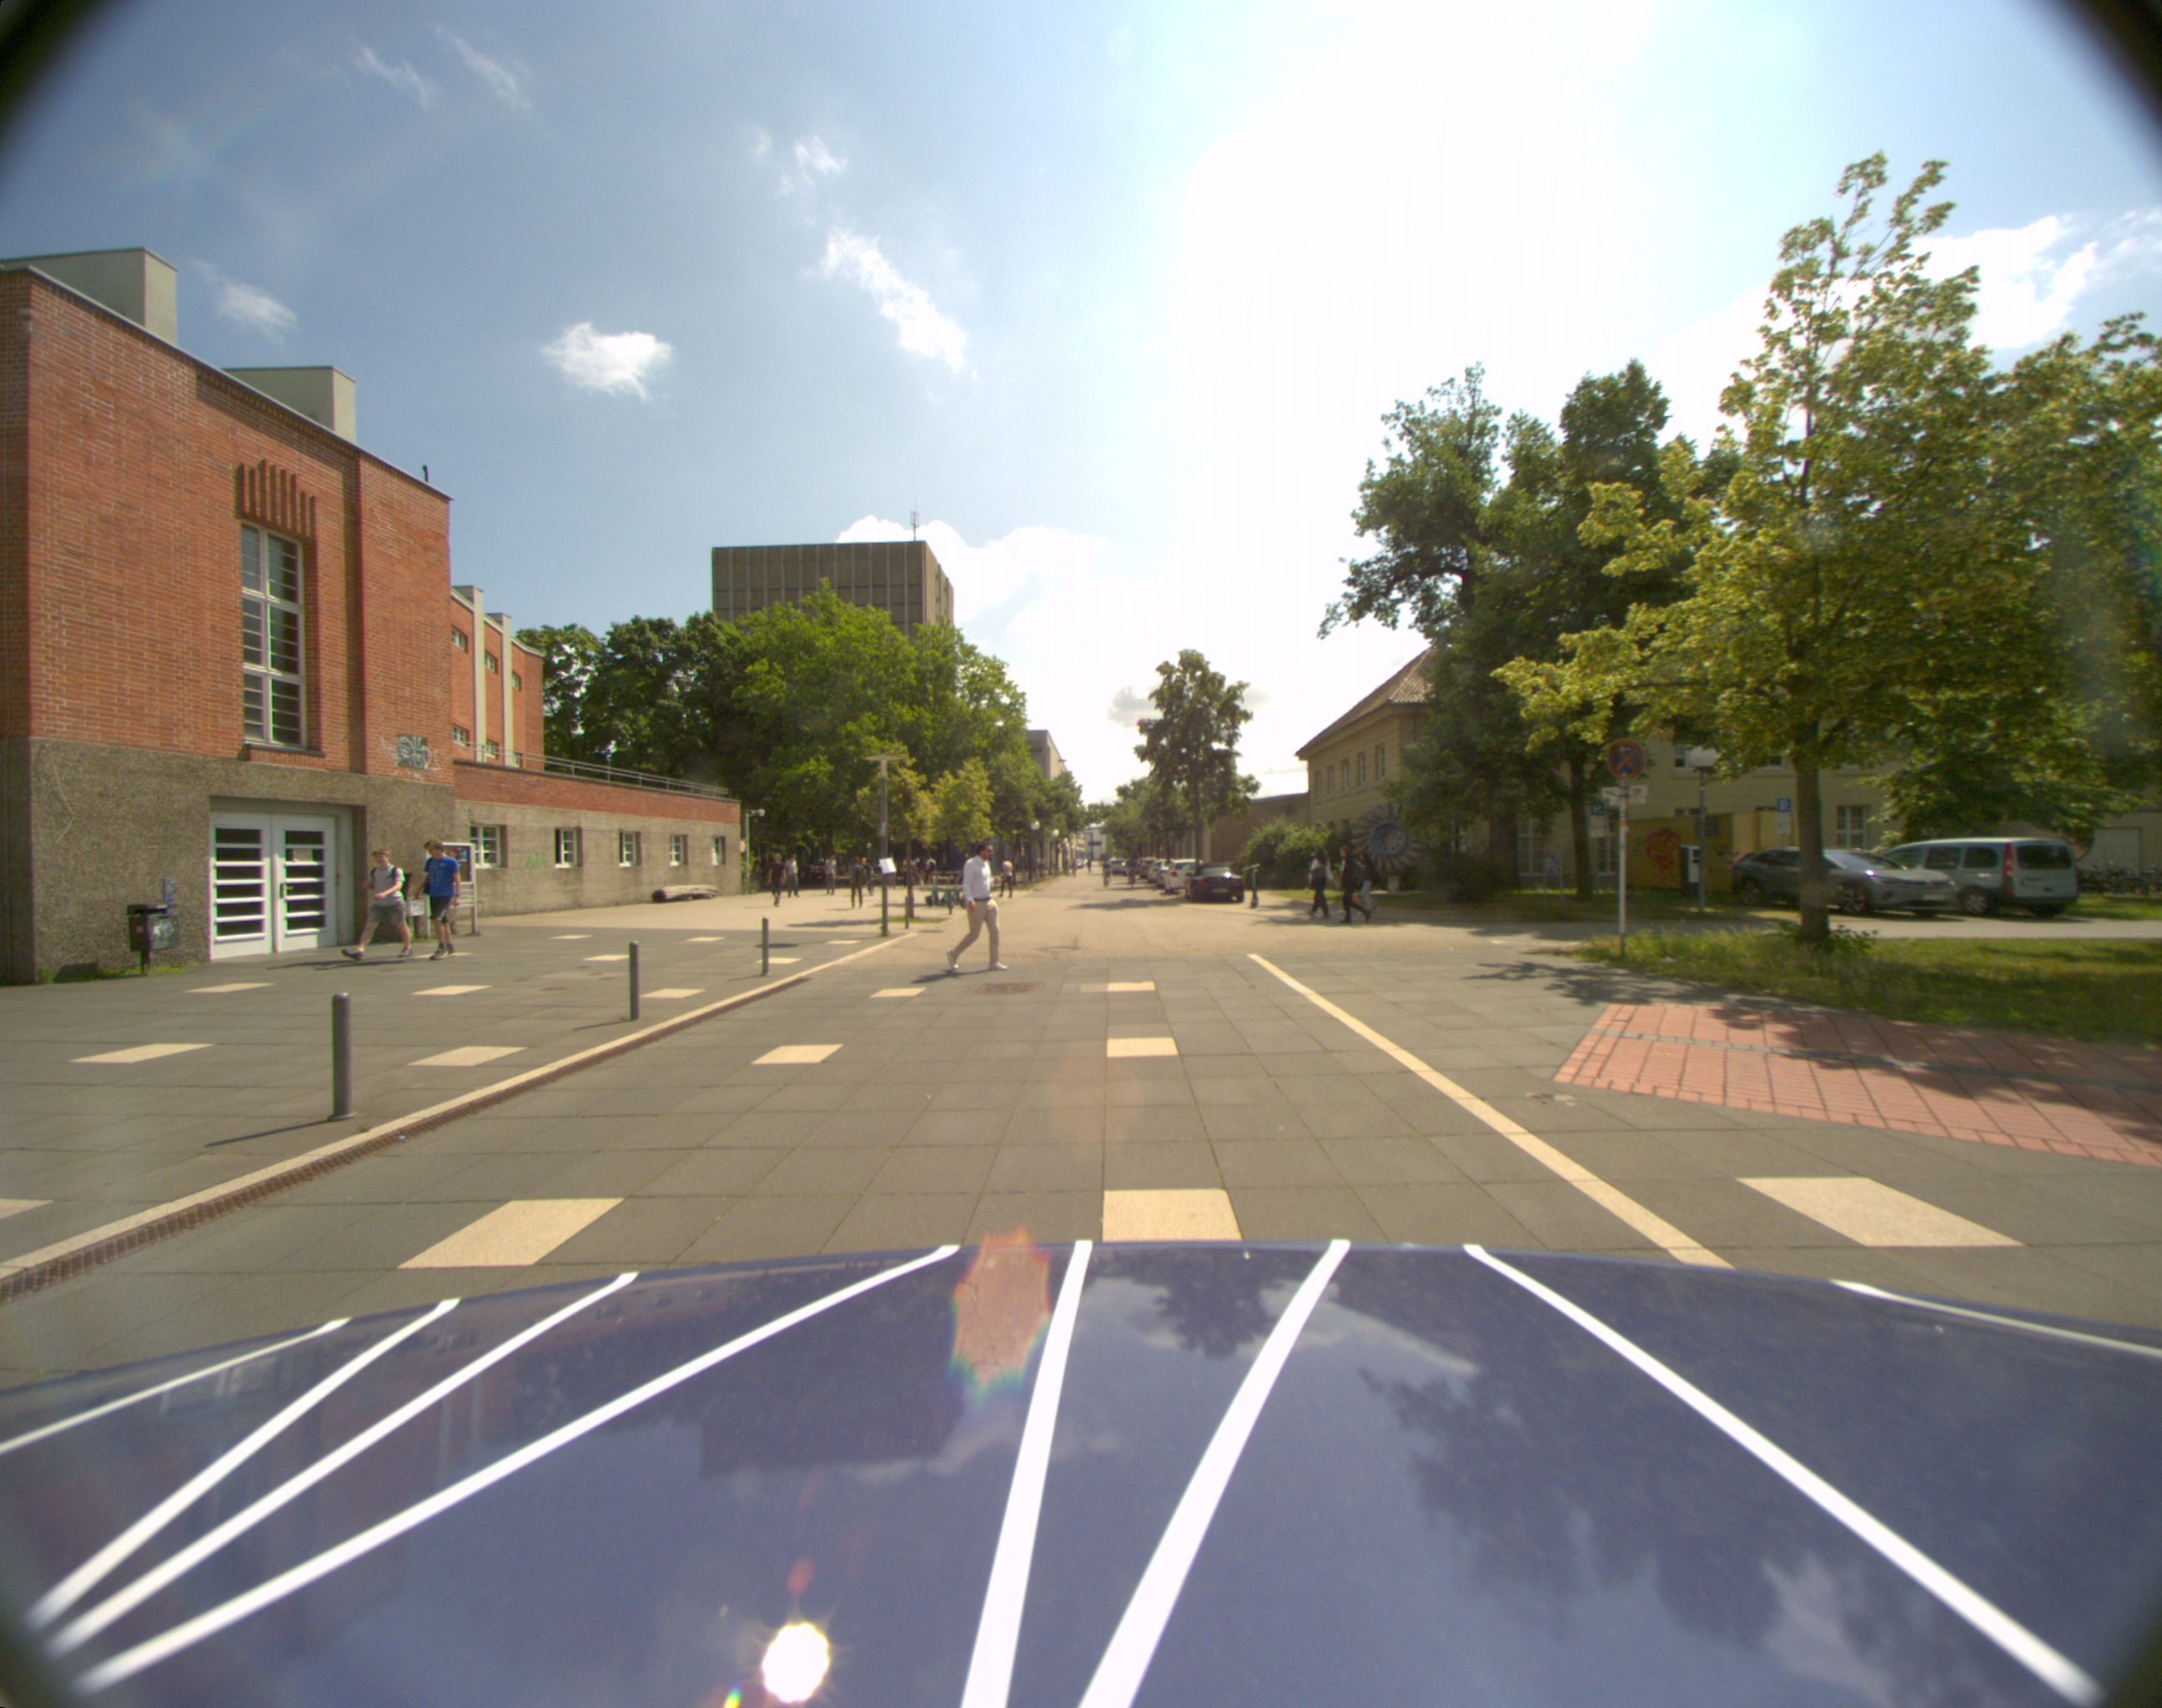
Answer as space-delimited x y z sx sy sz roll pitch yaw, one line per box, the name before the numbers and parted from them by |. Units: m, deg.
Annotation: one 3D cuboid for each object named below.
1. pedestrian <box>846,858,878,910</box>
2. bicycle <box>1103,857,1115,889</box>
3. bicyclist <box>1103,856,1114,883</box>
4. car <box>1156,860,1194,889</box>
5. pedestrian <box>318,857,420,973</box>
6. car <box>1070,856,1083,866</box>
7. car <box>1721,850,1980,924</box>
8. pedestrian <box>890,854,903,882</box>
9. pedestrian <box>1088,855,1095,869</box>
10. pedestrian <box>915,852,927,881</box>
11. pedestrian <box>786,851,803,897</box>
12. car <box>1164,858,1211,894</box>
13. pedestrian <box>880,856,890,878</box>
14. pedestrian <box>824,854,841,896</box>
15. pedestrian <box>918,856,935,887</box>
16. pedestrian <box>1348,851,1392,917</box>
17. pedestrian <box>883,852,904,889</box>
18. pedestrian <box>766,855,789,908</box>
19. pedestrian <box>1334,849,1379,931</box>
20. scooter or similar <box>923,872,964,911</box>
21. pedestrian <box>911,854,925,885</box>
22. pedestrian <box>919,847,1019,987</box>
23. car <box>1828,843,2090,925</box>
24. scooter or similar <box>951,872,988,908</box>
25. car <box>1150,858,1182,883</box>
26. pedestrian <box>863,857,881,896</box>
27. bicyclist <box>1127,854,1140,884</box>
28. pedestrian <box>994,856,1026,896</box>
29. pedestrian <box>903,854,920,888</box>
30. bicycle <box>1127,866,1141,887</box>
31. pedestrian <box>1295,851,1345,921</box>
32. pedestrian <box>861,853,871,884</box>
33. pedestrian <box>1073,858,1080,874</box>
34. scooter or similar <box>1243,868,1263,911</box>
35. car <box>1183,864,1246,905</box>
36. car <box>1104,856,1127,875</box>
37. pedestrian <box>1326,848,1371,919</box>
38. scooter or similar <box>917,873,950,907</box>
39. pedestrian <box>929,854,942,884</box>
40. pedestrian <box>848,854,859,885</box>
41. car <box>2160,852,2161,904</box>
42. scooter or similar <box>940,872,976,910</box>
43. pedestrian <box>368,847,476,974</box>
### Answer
pedestrian | -7.280 0.987 25.319 0.784 1.666 1.079 0 1 -3
bicycle | 1.503 1.010 41.131 0.588 1.670 1.759 -1 0 3
bicyclist | 1.496 0.816 41.133 0.587 1.444 1.233 -1 0 3
car | 4.725 1.010 38.636 1.648 1.368 4.001 -1 0 3
pedestrian | -10.955 0.905 11.726 0.586 1.697 1.002 0 1 0
car | -0.650 1.094 121.669 1.998 1.648 4.000 -1 0 1
car | 19.077 0.721 19.228 1.898 1.572 4.649 -1 1 2
pedestrian | -11.303 0.877 46.660 0.640 1.697 0.713 0 0 -25
pedestrian | 1.214 0.976 89.243 0.536 1.672 0.587 0 0 28
pedestrian | -10.267 0.808 48.857 0.640 1.859 0.537 0 0 -24
pedestrian | -12.214 0.851 32.393 0.566 1.917 0.889 -2 -2 -19
car | 4.524 0.913 32.687 1.634 1.422 3.633 -1 0 2
pedestrian | -13.943 0.938 54.127 0.640 1.548 0.574 0 0 -13
pedestrian | -11.308 0.963 34.557 0.670 1.875 0.972 -2 -2 -20
pedestrian | -8.406 0.970 41.368 0.752 1.663 0.844 0 0 -20
pedestrian | 7.661 0.776 20.134 0.970 1.706 0.559 0 1 32
pedestrian | -10.022 0.881 40.550 0.984 1.934 0.977 0 0 -20
pedestrian | -10.216 0.914 25.595 0.587 1.768 0.798 0 1 -13
pedestrian | 6.200 0.792 17.100 0.870 1.776 0.570 0 0 30
scooter or similar | -4.582 1.236 25.329 1.352 1.223 0.577 0 0 37
pedestrian | -9.287 0.895 43.191 0.603 1.742 0.763 0 0 -26
pedestrian | -1.577 0.837 10.733 1.022 1.837 0.918 1 1 33
car | 21.615 0.637 19.011 1.811 1.776 4.124 -1 1 2
scooter or similar | -3.933 1.251 26.749 1.261 1.225 0.577 0 0 37
car | 5.218 1.001 46.991 1.717 1.424 4.001 -1 0 3
pedestrian | -9.599 1.031 34.846 0.670 1.755 0.797 -1 -1 -21
bicyclist | 2.876 0.807 41.516 0.630 1.596 1.329 -1 0 1
pedestrian | -3.188 0.979 34.148 0.985 1.776 1.092 0 0 -38
pedestrian | -9.113 0.906 40.924 0.782 1.780 0.713 0 0 -21
bicycle | 2.877 1.212 41.449 0.626 1.135 1.812 -1 0 1
pedestrian | 5.931 0.775 18.883 0.623 1.706 1.002 0 0 -40
pedestrian | -12.492 0.851 44.116 0.542 1.783 0.643 0 0 -21
pedestrian | -0.407 1.039 67.365 0.585 1.433 0.639 0 0 4
scooter or similar | 5.068 1.025 22.411 0.470 1.209 1.205 -1 0 8
car | 4.560 1.009 26.357 1.700 1.287 3.763 -1 0 3
car | 3.136 0.975 68.038 1.932 1.624 4.373 -1 0 3
pedestrian | 6.887 0.730 19.561 0.898 1.776 0.728 0 1 36
scooter or similar | -5.340 1.283 27.582 0.575 1.173 1.480 0 0 16
pedestrian | -8.349 0.863 43.659 0.623 1.729 0.773 0 0 -20
pedestrian | -13.174 0.911 44.012 0.566 1.783 0.643 0 0 -21
car | 30.680 0.471 18.758 1.810 1.949 4.528 0 1 5
scooter or similar | -4.222 1.253 26.049 1.140 1.236 0.577 0 0 37
pedestrian | -10.162 0.827 11.765 0.665 1.879 1.110 0 1 1
